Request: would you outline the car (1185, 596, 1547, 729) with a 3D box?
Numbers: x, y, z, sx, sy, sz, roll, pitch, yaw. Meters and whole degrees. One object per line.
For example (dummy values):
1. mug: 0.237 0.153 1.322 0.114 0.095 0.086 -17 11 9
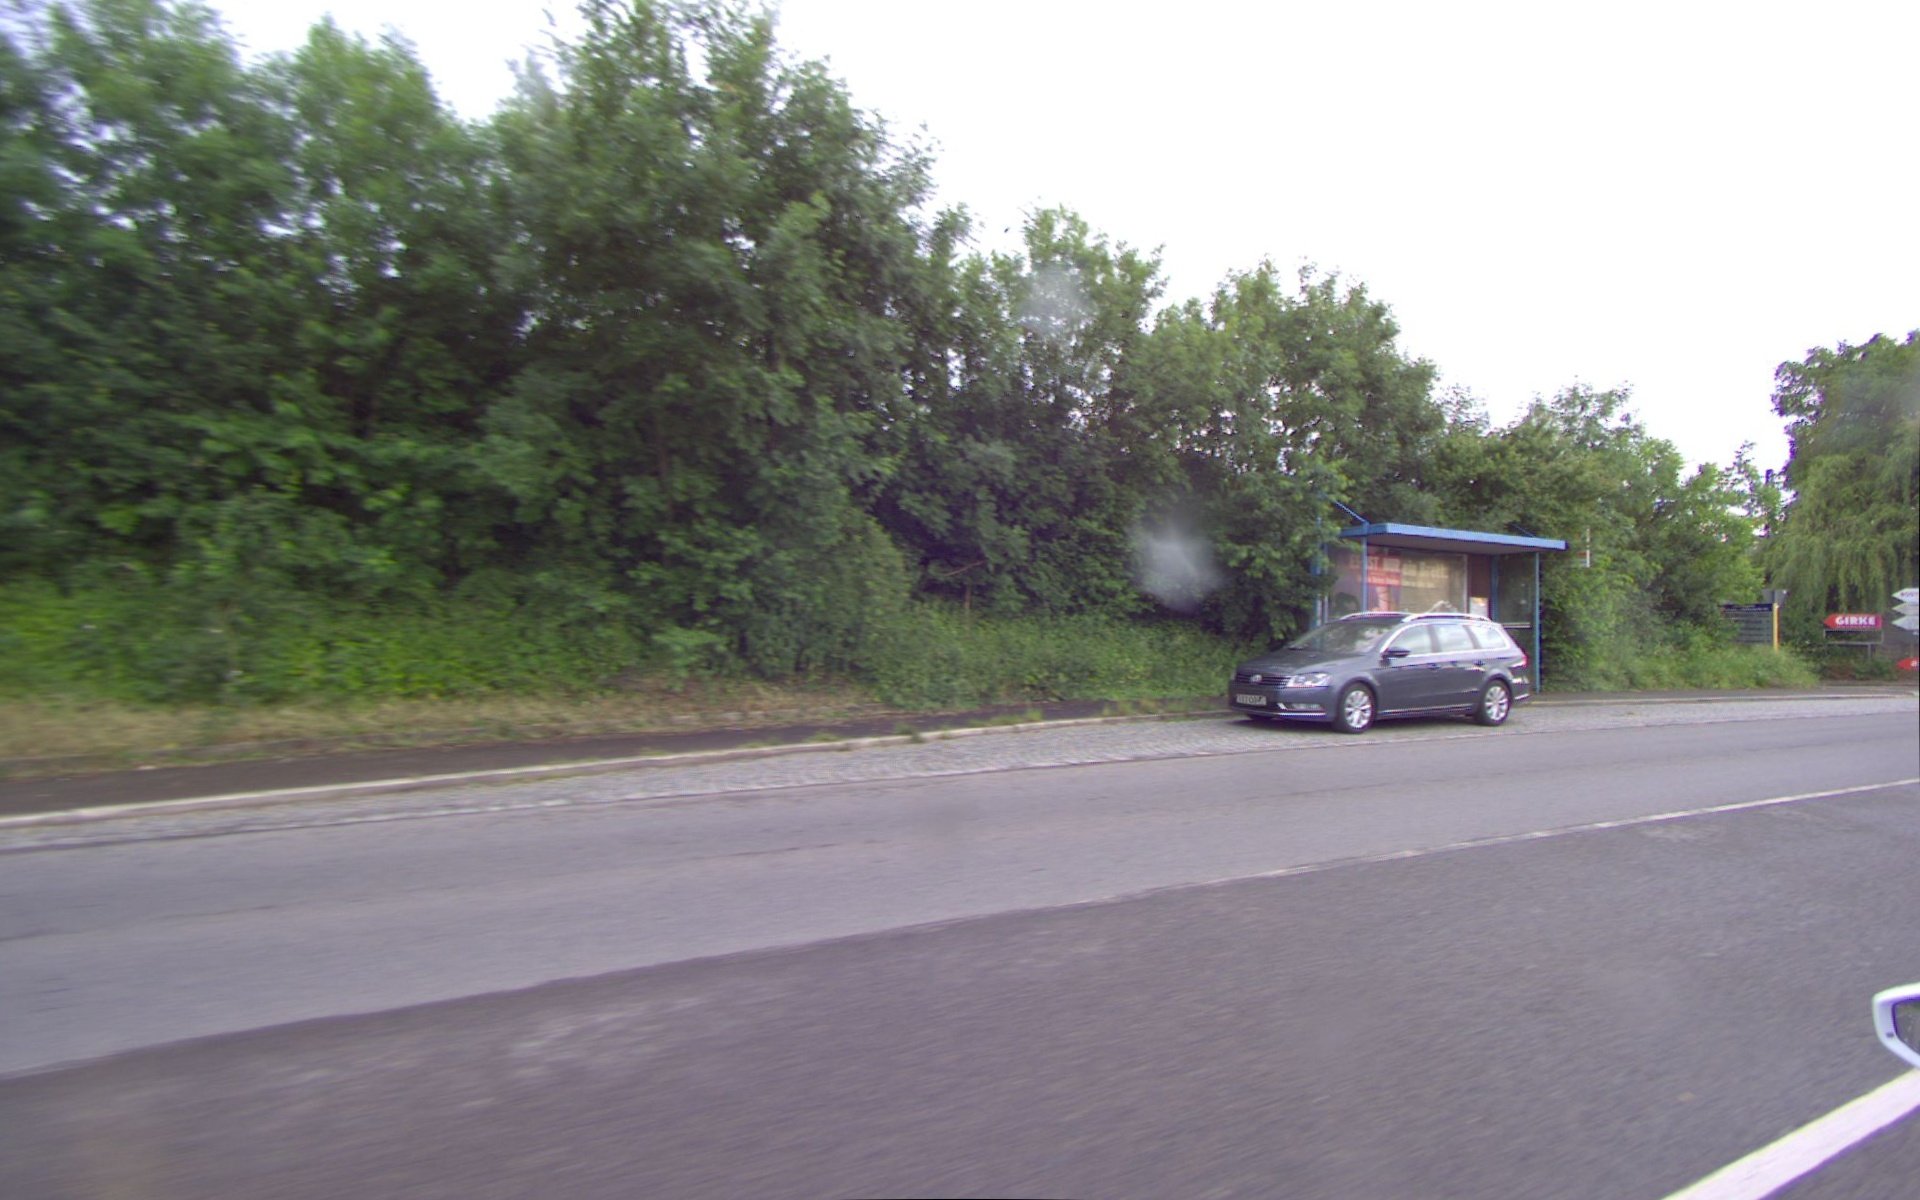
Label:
1. car: 5.547 0.852 13.640 4.641 1.493 1.986 4 0 -28
